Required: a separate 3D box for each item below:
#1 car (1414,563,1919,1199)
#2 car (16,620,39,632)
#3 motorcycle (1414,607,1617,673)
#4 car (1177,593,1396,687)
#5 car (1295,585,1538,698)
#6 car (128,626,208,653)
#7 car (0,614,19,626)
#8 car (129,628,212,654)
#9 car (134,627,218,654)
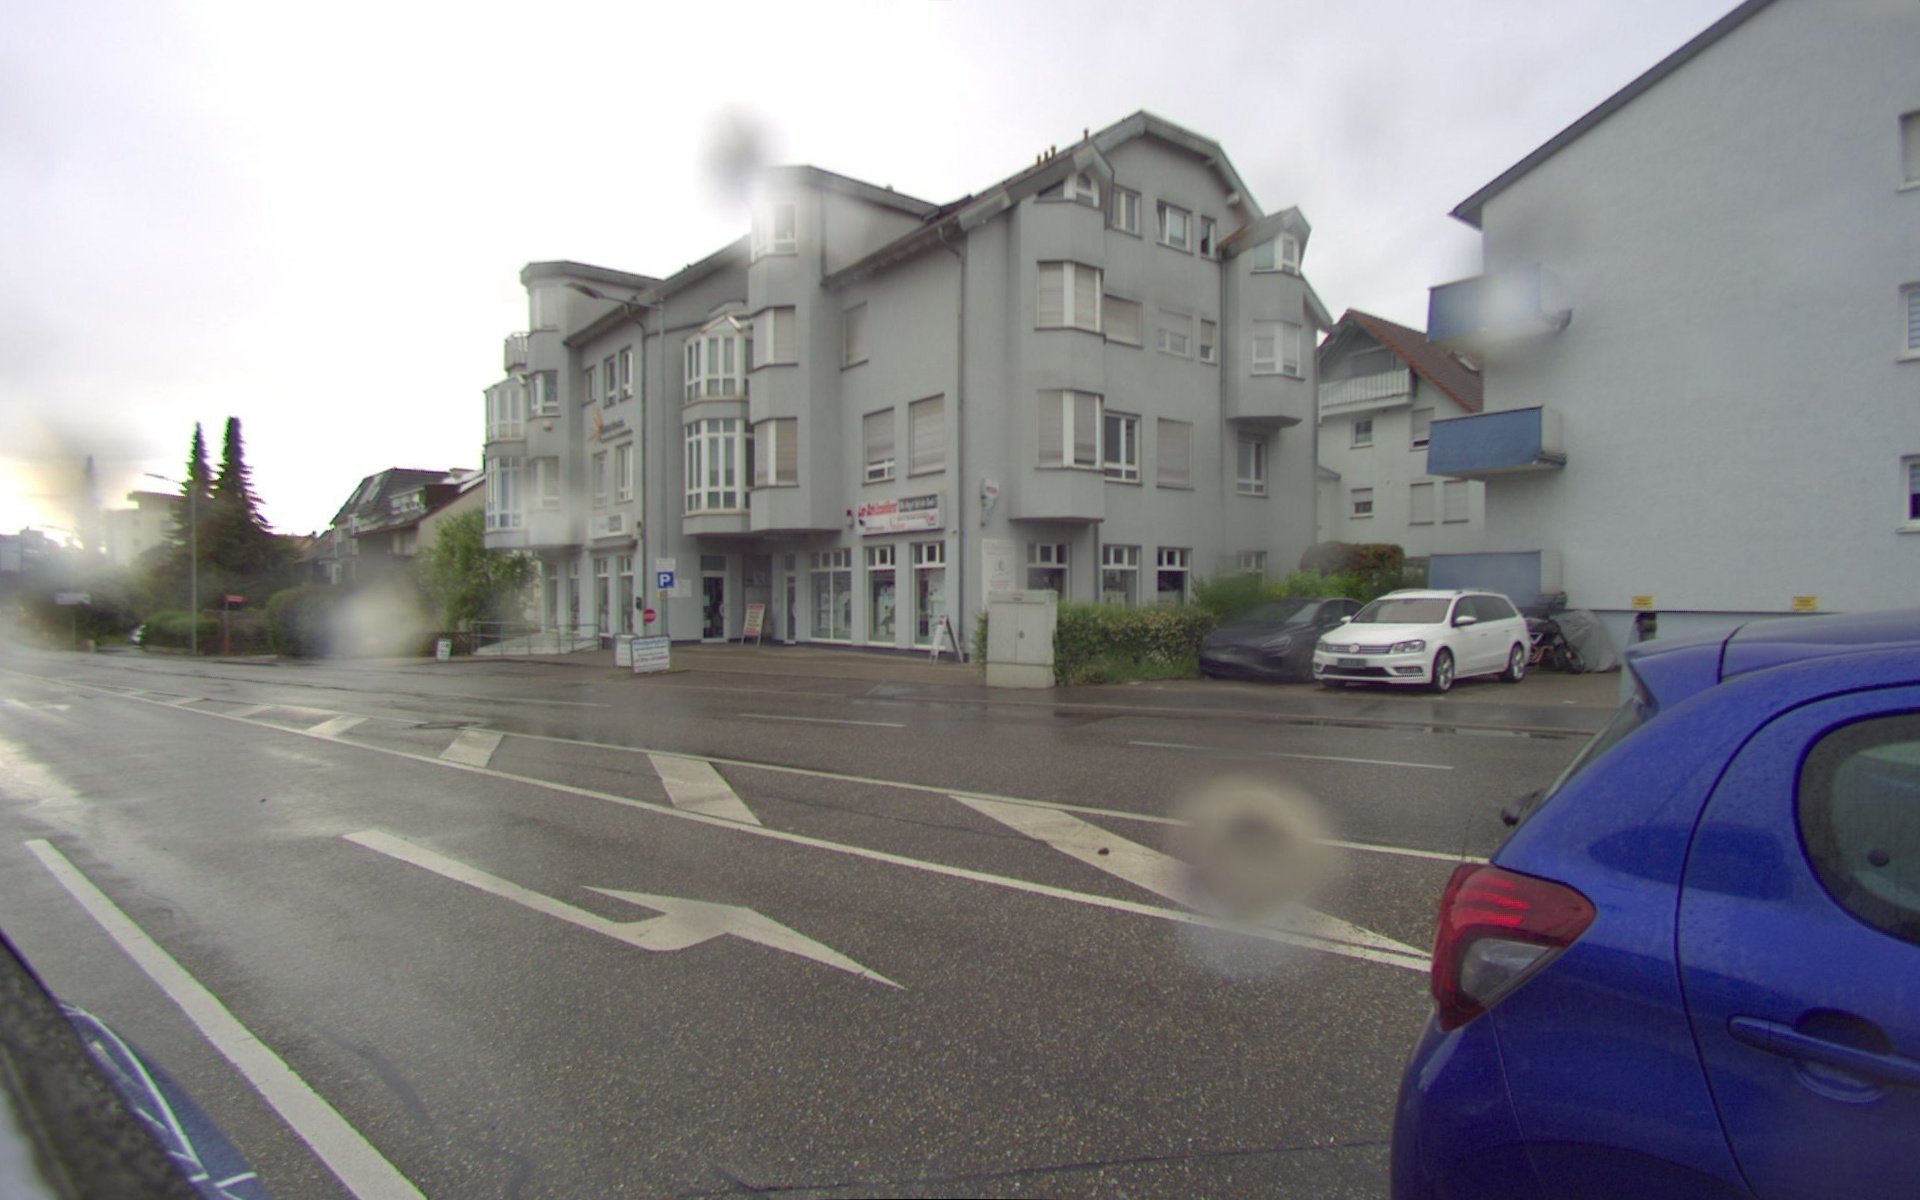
[{"bbox_3d":[2.449,0.625,1.055,3.269,1.421,1.562,-2,0,42],"label":"car"},{"bbox_3d":[-124.286,3.441,134.865,1.968,1.628,4.008,0,-1,-38],"label":"car"},{"bbox_3d":[9.969,0.729,18.353,3.112,1.108,0.869,-2,0,25],"label":"motorcycle"},{"bbox_3d":[5.673,0.622,17.361,3.940,1.421,1.906,0,-1,-43],"label":"car"},{"bbox_3d":[7.050,0.552,15.442,4.169,1.485,1.906,0,-1,-43],"label":"car"},{"bbox_3d":[-53.000,2.612,67.753,4.058,1.557,2.002,-2,0,-44],"label":"car"},{"bbox_3d":[-148.708,3.118,158.415,1.824,1.777,4.129,0,-1,-39],"label":"car"},{"bbox_3d":[-51.203,2.616,65.676,4.097,1.453,1.892,-2,0,-42],"label":"car"},{"bbox_3d":[-49.468,2.542,63.885,3.979,1.453,1.814,-2,0,-44],"label":"car"}]
